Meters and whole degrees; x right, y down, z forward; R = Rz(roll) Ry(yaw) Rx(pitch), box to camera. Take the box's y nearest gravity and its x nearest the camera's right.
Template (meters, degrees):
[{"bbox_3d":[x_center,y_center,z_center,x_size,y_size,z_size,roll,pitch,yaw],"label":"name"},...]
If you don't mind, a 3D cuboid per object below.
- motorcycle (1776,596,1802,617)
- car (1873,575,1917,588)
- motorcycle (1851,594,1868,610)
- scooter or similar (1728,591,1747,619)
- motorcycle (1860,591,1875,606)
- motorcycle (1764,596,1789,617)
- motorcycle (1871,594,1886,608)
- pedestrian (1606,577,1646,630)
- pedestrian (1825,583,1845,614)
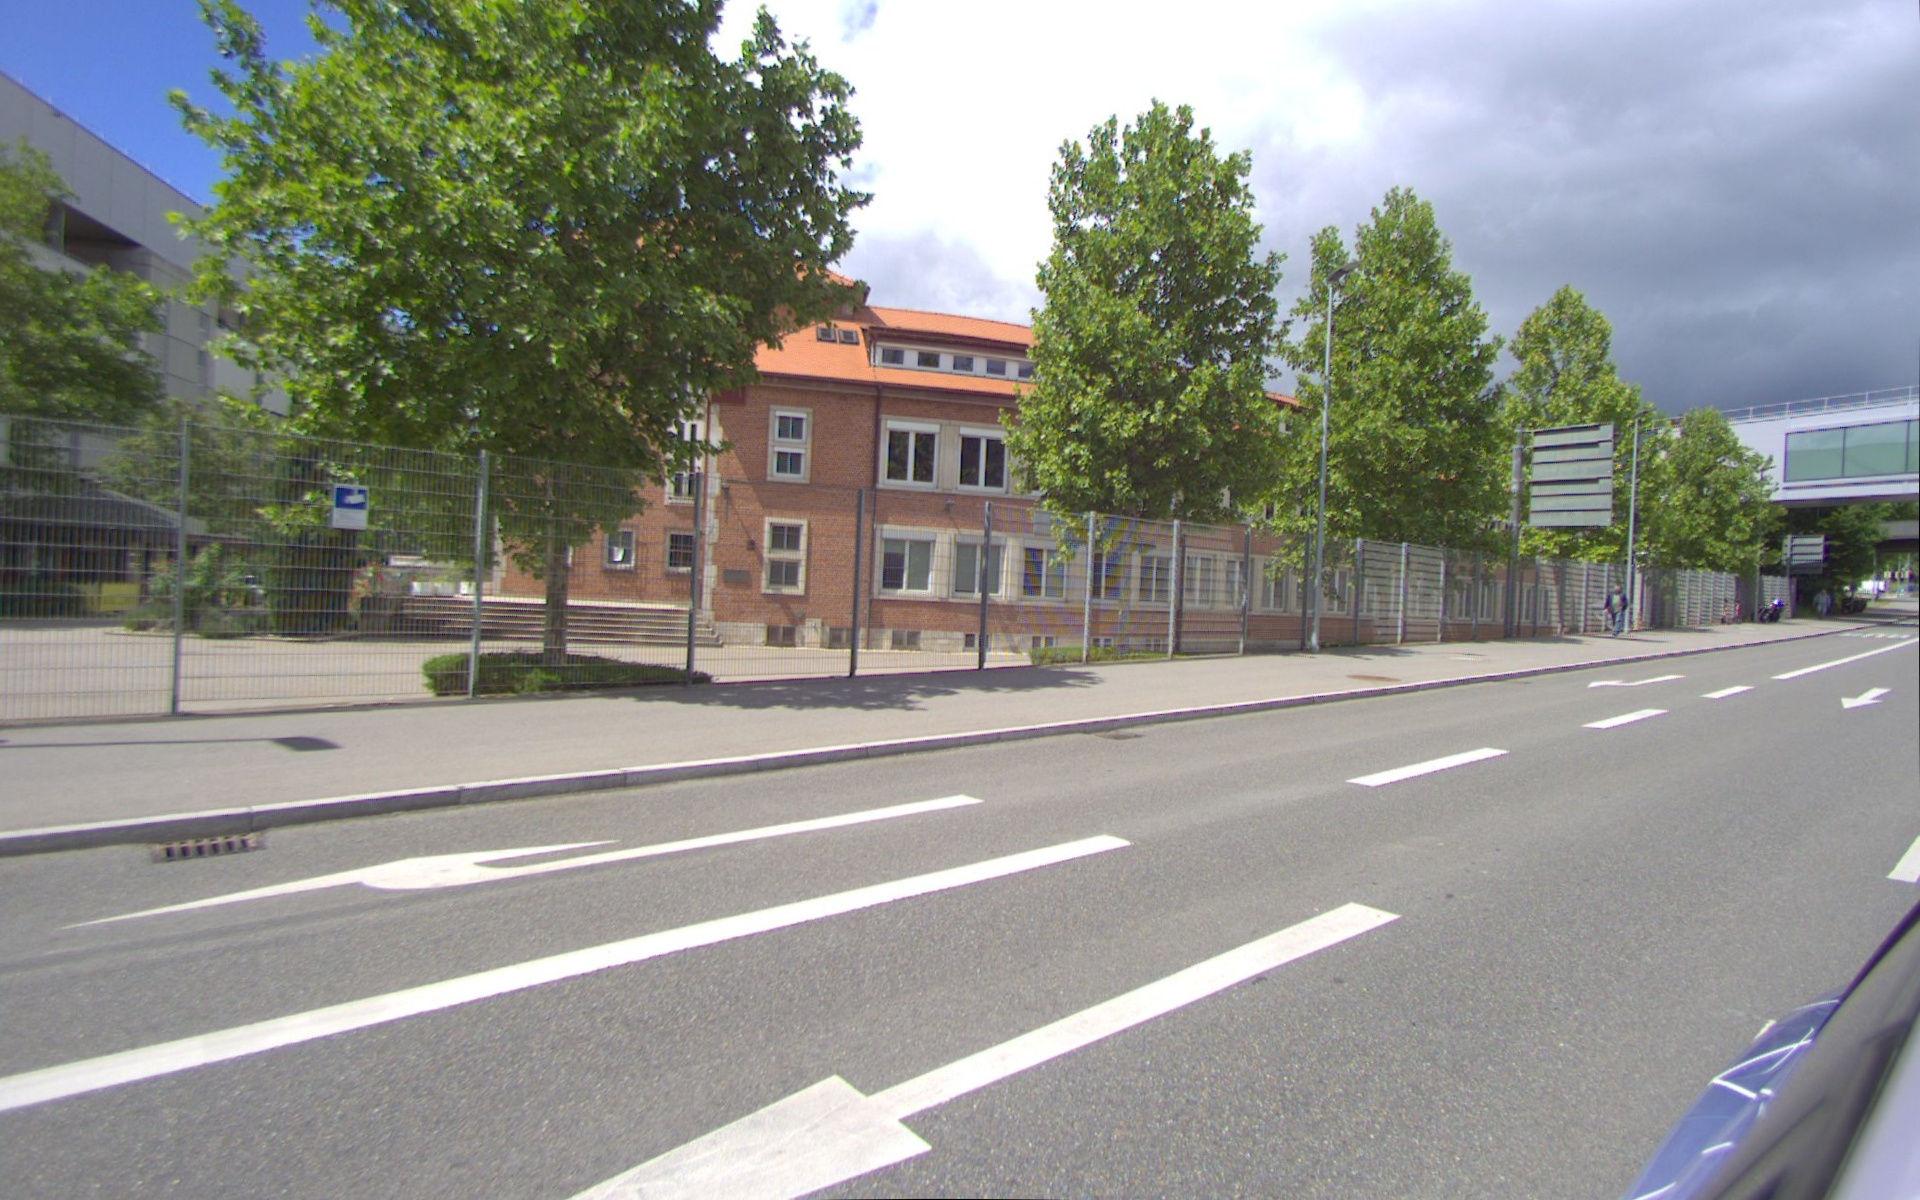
[{"bbox_3d":[46.029,0.340,56.158,2.467,1.077,0.709,0,4,-43],"label":"motorcycle"},{"bbox_3d":[131.934,-2.597,142.850,1.794,1.829,4.254,0,1,-36],"label":"car"},{"bbox_3d":[67.625,0.112,76.069,2.076,1.168,0.679,0,2,-41],"label":"motorcycle"},{"bbox_3d":[38.192,0.246,49.710,1.314,1.310,0.492,0,2,-42],"label":"scooter or similar"},{"bbox_3d":[69.466,-0.134,77.445,2.124,1.157,0.679,0,2,-43],"label":"motorcycle"},{"bbox_3d":[43.701,0.334,54.149,2.209,1.077,0.669,0,4,-43],"label":"motorcycle"},{"bbox_3d":[72.526,0.068,79.943,2.144,1.096,0.679,0,2,-43],"label":"motorcycle"},{"bbox_3d":[23.207,0.122,35.287,0.924,1.764,0.879,0,3,-42],"label":"pedestrian"},{"bbox_3d":[55.099,-0.094,63.722,1.078,1.911,0.790,0,2,-43],"label":"pedestrian"}]
